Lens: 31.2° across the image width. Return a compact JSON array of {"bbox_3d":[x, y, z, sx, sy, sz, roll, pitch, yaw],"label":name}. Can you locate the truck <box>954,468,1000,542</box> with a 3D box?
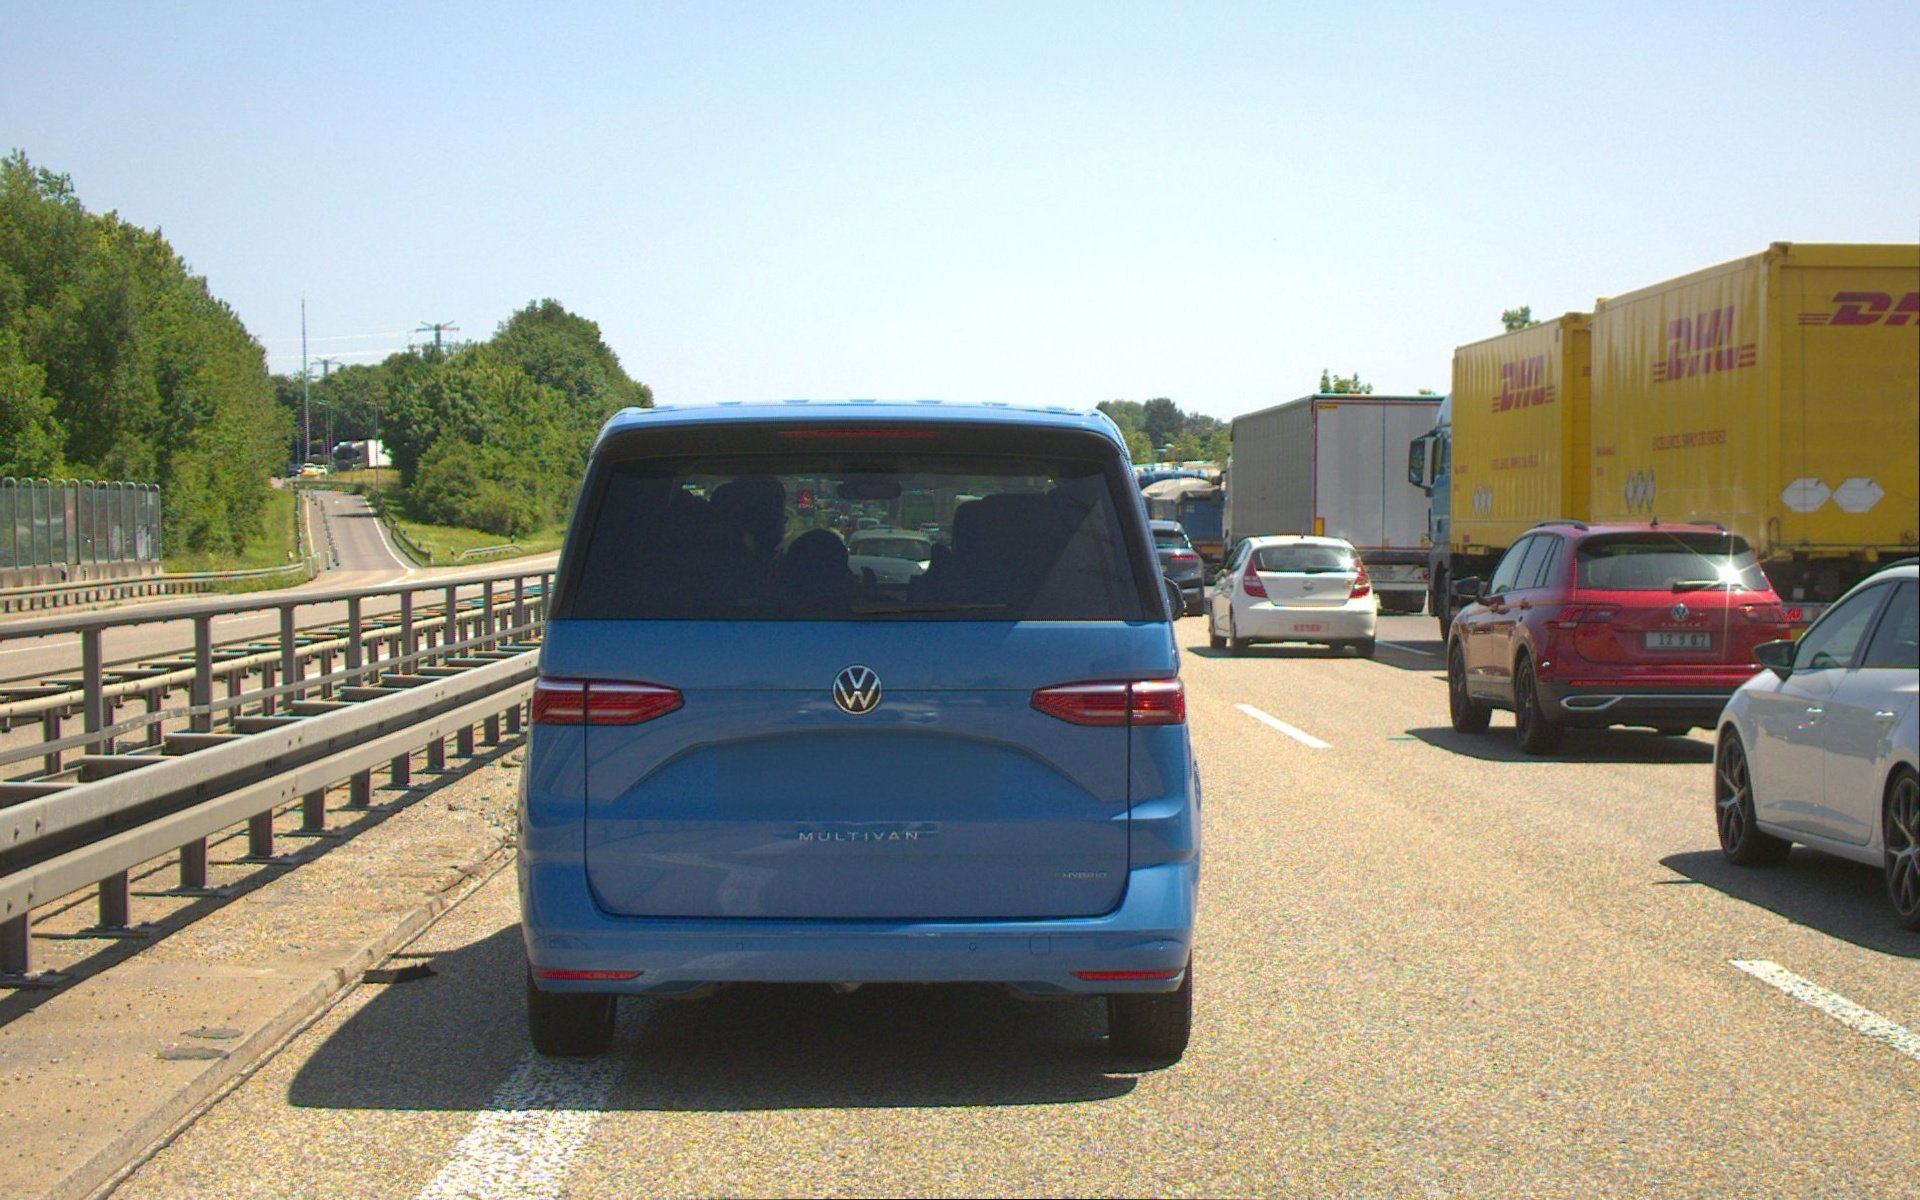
[{"bbox_3d":[1.251,-7.133,261.195,2.833,5.354,12.556,1,1,-2],"label":"truck"}]

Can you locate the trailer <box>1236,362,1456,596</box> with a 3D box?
[{"bbox_3d":[7.331,-2.217,66.956,2.755,4.132,11.313,1,1,-1],"label":"trailer"}]

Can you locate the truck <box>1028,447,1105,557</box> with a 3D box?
[{"bbox_3d":[5.040,-4.614,164.875,2.833,5.023,11.147,1,1,-2],"label":"truck"}]

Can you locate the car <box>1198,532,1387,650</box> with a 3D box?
[{"bbox_3d":[4.117,-0.147,43.133,1.838,1.409,4.001,0,1,-2],"label":"car"}]

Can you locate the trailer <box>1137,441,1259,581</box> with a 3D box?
[{"bbox_3d":[6.679,-2.452,97.913,2.379,3.731,11.189,1,1,-1],"label":"trailer"}]

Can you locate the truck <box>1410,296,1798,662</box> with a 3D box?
[{"bbox_3d":[7.872,-1.404,43.582,2.722,4.040,10.337,1,1,-1],"label":"truck"}]

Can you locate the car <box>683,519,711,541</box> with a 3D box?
[{"bbox_3d":[-19.476,-5.159,254.477,1.754,1.542,4.000,-2,1,-1],"label":"car"}]

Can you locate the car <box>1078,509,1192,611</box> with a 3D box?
[{"bbox_3d":[3.098,-0.736,61.492,1.715,1.581,3.822,-3,3,-1],"label":"car"}]

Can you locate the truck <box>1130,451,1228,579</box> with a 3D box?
[{"bbox_3d":[6.567,-2.523,103.780,2.367,3.709,6.034,1,1,-1],"label":"truck"}]

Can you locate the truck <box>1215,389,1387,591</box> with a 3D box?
[{"bbox_3d":[7.220,-2.275,73.731,2.768,4.081,6.984,1,1,-1],"label":"truck"}]

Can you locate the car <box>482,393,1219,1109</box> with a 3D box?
[{"bbox_3d":[-0.306,0.351,10.828,1.882,1.831,4.000,0,1,-1],"label":"car"}]

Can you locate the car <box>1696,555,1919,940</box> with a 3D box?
[{"bbox_3d":[4.380,0.525,14.059,1.781,1.382,4.188,0,1,-1],"label":"car"}]

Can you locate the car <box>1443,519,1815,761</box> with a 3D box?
[{"bbox_3d":[4.732,0.222,24.887,1.851,1.603,4.000,0,1,-1],"label":"car"}]

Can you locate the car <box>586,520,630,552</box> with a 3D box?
[{"bbox_3d":[-17.618,-3.202,172.386,1.780,1.563,4.387,-2,1,-1],"label":"car"}]

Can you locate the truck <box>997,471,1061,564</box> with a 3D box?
[{"bbox_3d":[3.826,-4.539,192.830,2.833,5.023,11.818,1,1,-2],"label":"truck"}]

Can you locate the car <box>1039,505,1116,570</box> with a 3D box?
[{"bbox_3d":[2.918,-1.567,85.902,1.715,1.535,3.821,-1,1,-1],"label":"car"}]

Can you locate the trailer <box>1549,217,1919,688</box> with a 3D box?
[{"bbox_3d":[8.046,-1.295,33.941,2.701,4.010,8.931,1,1,-1],"label":"trailer"}]
